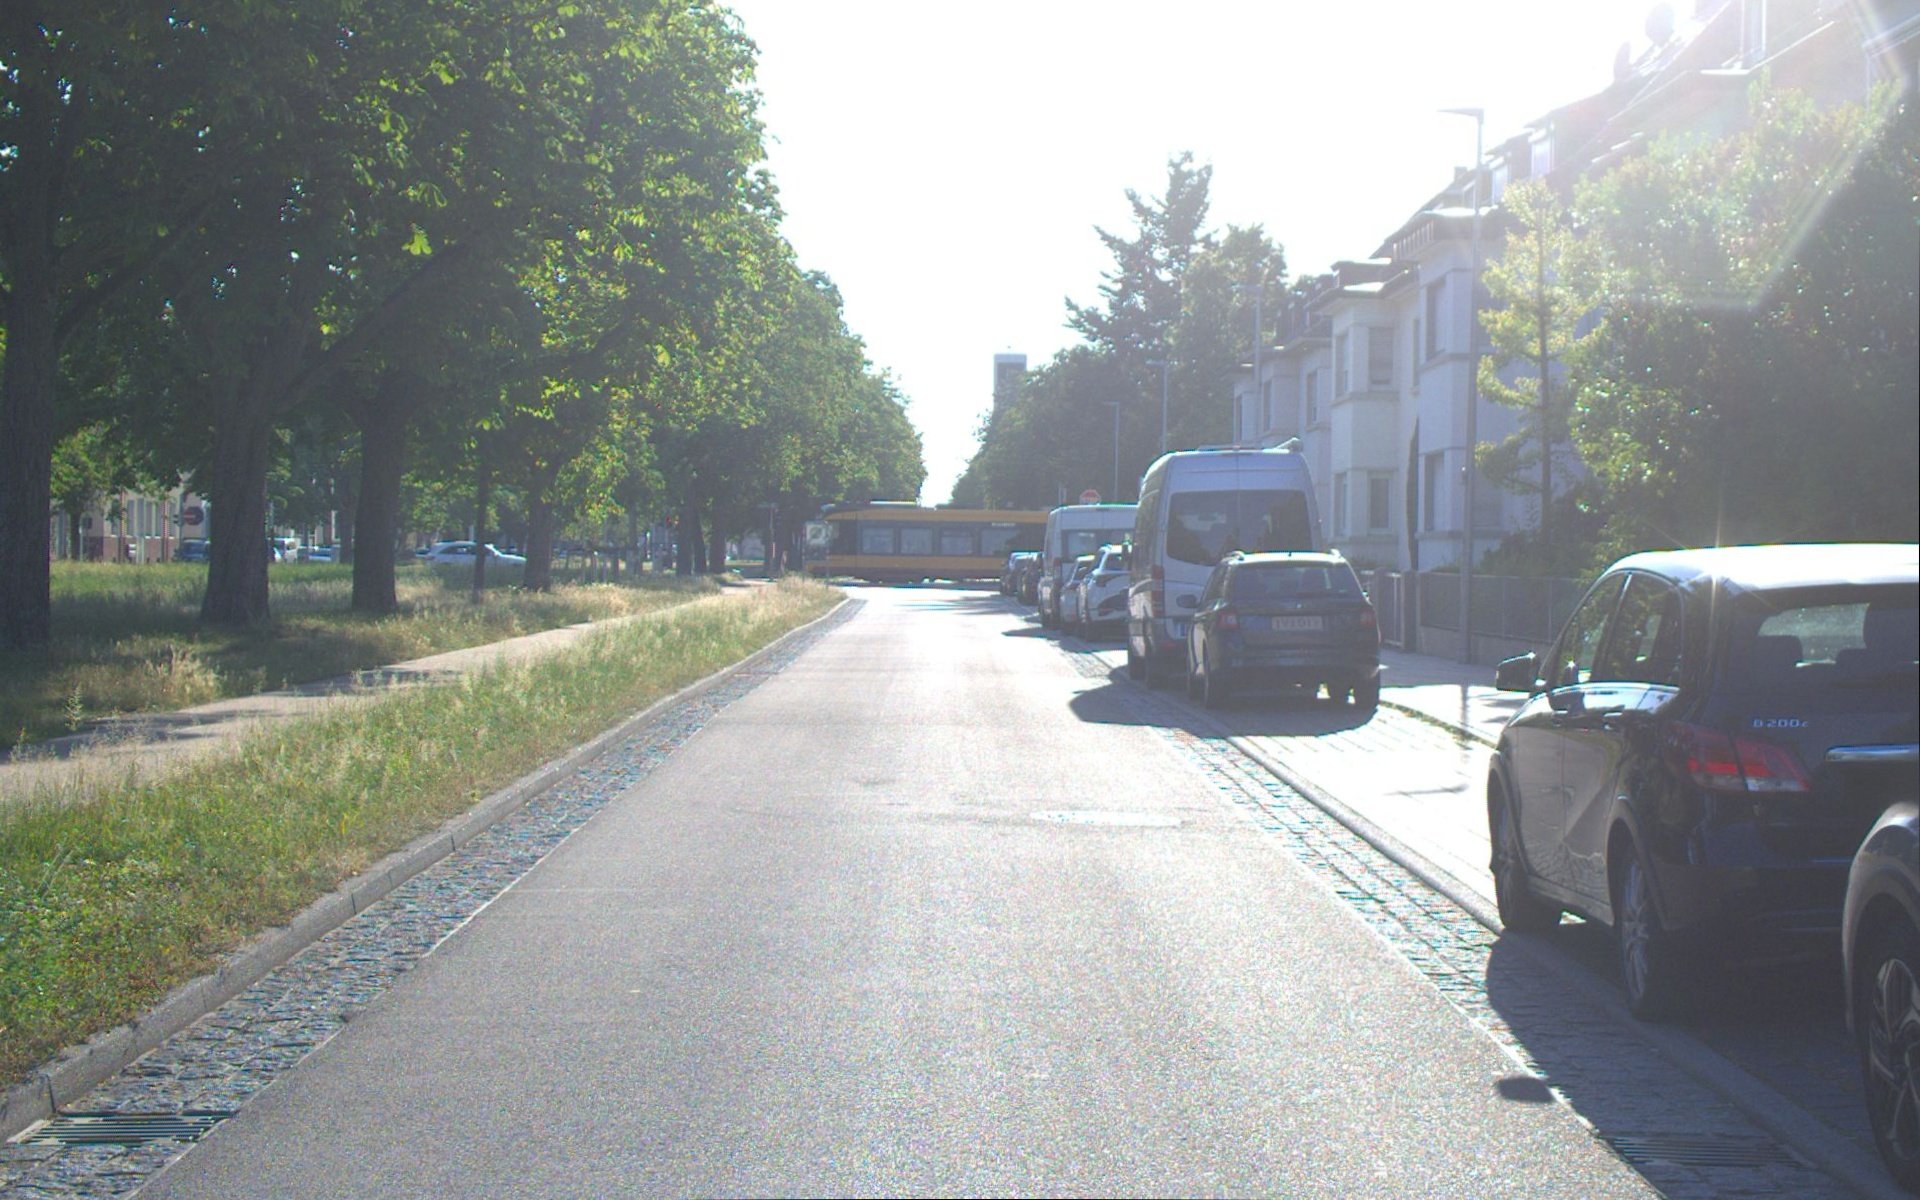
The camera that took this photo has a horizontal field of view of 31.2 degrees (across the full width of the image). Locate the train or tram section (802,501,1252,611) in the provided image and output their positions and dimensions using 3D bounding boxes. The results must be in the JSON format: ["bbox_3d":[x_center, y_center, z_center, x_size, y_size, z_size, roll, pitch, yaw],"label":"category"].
[{"bbox_3d":[2.932,-1.944,154.570,19.780,3.943,3.644,3,0,-4],"label":"train or tram section"}]

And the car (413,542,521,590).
[{"bbox_3d":[-20.570,-1.421,143.488,4.345,1.758,2.000,3,0,-8],"label":"car"}]

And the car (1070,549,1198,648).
[{"bbox_3d":[2.952,-0.042,58.999,1.837,1.630,4.132,0,1,-2],"label":"car"}]

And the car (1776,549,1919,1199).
[{"bbox_3d":[3.188,0.659,7.167,1.717,1.568,4.211,-1,0,-4],"label":"car"}]

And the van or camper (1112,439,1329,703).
[{"bbox_3d":[2.954,-0.303,40.188,1.943,2.768,5.939,3,0,0],"label":"van or camper"}]

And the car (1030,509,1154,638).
[{"bbox_3d":[2.661,-0.548,70.423,2.126,2.524,5.189,0,1,-2],"label":"car"}]

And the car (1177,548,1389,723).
[{"bbox_3d":[3.108,0.315,33.763,1.663,1.587,4.086,-1,0,0],"label":"car"}]

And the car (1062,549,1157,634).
[{"bbox_3d":[2.767,-0.178,64.132,1.650,1.525,3.851,1,1,1],"label":"car"}]

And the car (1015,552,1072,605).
[{"bbox_3d":[2.476,-0.642,102.398,1.650,1.525,3.851,1,1,1],"label":"car"}]

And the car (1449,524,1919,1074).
[{"bbox_3d":[3.134,0.616,12.990,1.832,1.679,4.415,3,1,0],"label":"car"}]
